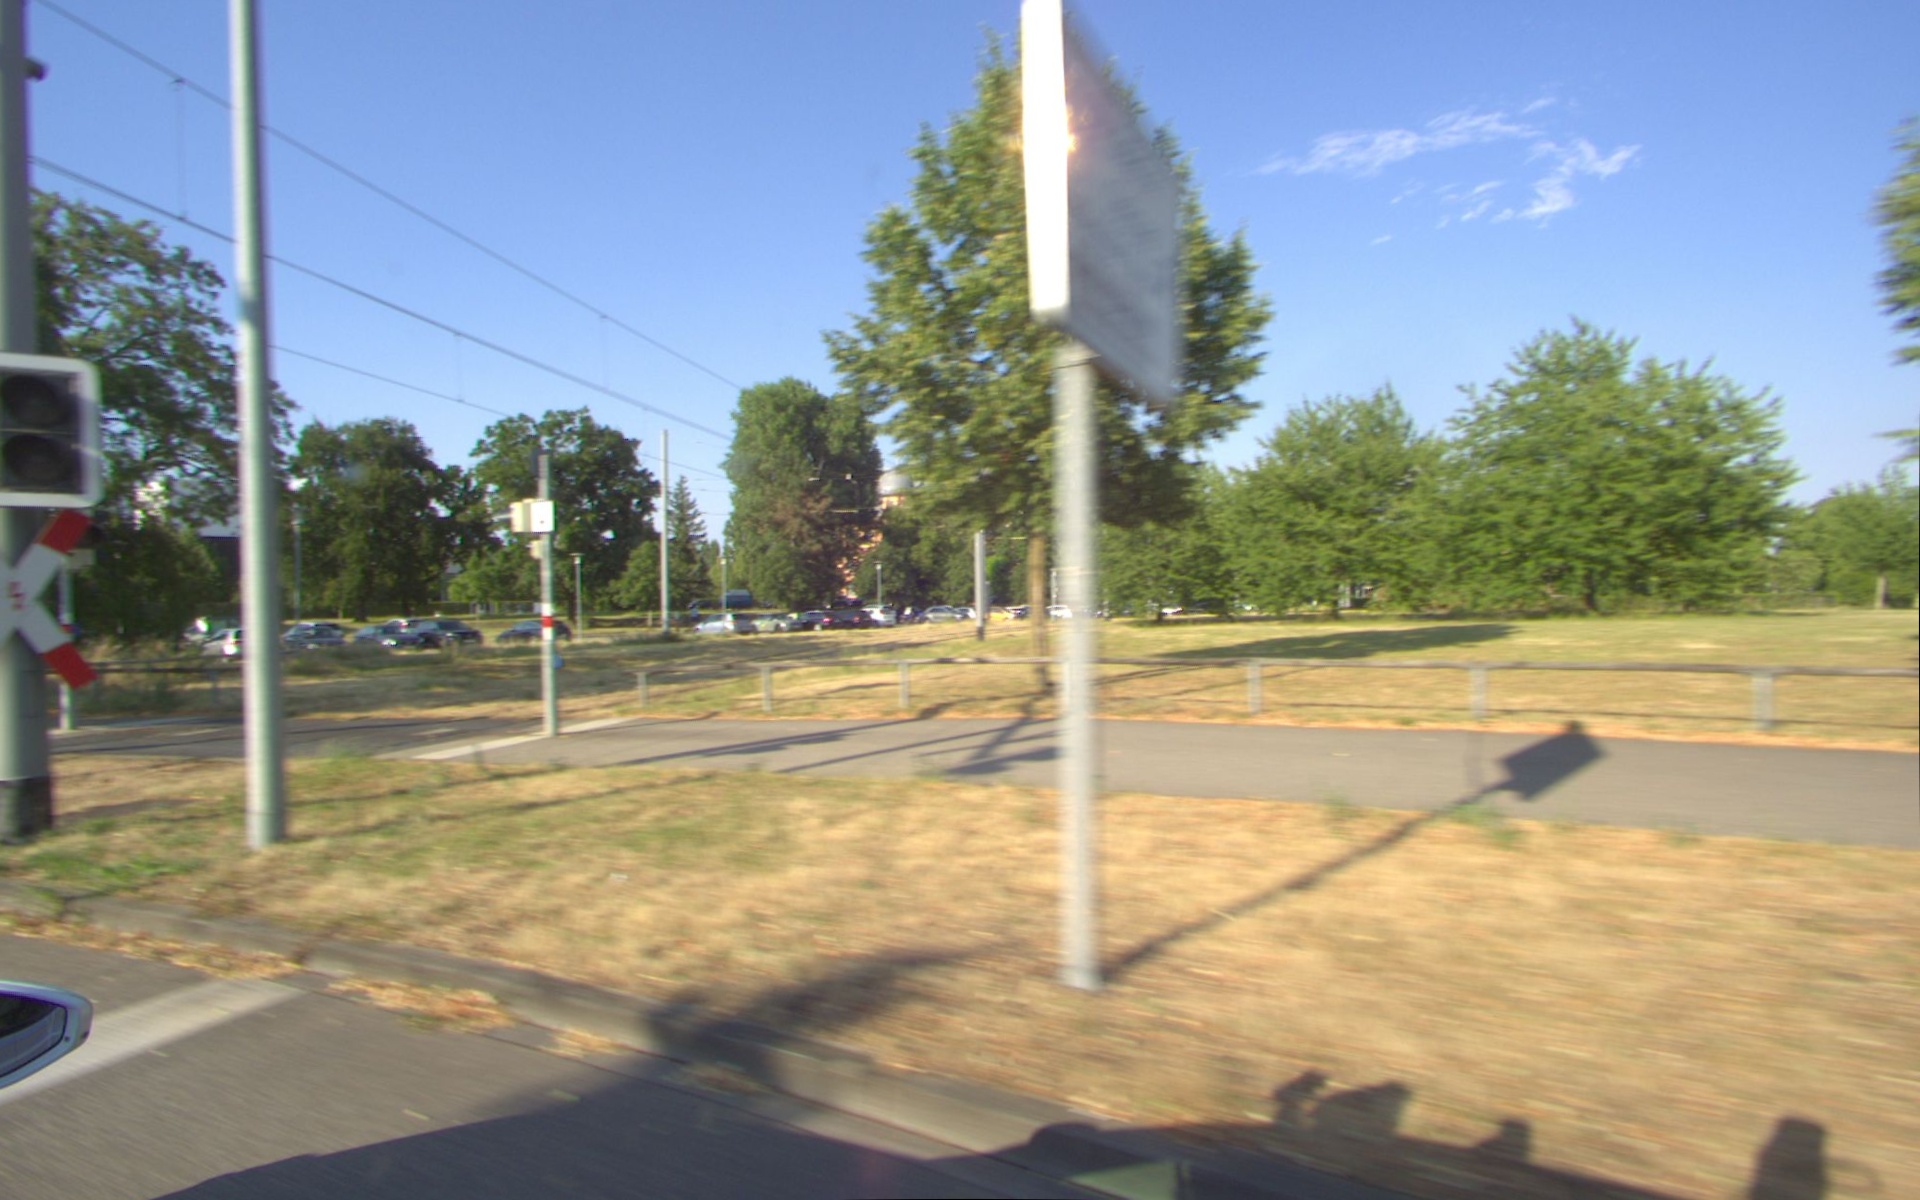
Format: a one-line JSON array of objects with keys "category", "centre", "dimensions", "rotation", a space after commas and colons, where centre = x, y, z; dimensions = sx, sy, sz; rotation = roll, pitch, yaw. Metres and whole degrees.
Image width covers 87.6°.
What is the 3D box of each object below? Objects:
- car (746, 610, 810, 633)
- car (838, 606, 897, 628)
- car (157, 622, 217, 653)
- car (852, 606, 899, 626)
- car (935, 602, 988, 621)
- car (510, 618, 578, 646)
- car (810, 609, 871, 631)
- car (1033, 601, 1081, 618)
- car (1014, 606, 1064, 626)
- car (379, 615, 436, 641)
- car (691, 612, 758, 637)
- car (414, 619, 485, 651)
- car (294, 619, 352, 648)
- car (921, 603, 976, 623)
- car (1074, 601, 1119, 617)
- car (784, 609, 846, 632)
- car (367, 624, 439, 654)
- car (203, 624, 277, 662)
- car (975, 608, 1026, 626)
[{"category": "car", "centre": [-11.613, 1.383, 63.926], "dimensions": [3.950, 1.421, 1.815], "rotation": [-2, 0, 37]}, {"category": "car", "centre": [-6.471, 1.180, 70.185], "dimensions": [3.950, 1.421, 1.815], "rotation": [-2, 0, 37]}, {"category": "car", "centre": [-37.344, 1.808, 48.373], "dimensions": [3.924, 1.420, 1.593], "rotation": [-2, 0, 42]}, {"category": "car", "centre": [-7.436, 1.392, 87.795], "dimensions": [3.950, 1.694, 1.815], "rotation": [-2, 0, 37]}, {"category": "car", "centre": [0.113, 0.902, 79.141], "dimensions": [3.950, 1.421, 1.815], "rotation": [-2, 0, 37]}, {"category": "car", "centre": [-20.788, 1.610, 49.967], "dimensions": [3.924, 1.327, 1.593], "rotation": [-2, 0, 42]}, {"category": "car", "centre": [-8.052, 1.365, 67.472], "dimensions": [3.950, 1.421, 1.815], "rotation": [-2, 0, 37]}, {"category": "car", "centre": [8.650, 0.866, 89.493], "dimensions": [3.950, 1.421, 1.815], "rotation": [-2, 0, 37]}, {"category": "car", "centre": [6.844, 1.408, 87.170], "dimensions": [3.950, 1.589, 1.815], "rotation": [-2, 0, 37]}, {"category": "car", "centre": [-31.599, 1.624, 57.234], "dimensions": [3.924, 1.420, 1.593], "rotation": [-2, 0, 42]}, {"category": "car", "centre": [-14.158, 1.448, 60.044], "dimensions": [3.950, 1.421, 1.815], "rotation": [-2, 0, 37]}, {"category": "car", "centre": [-23.730, 1.624, 46.499], "dimensions": [3.924, 1.420, 1.593], "rotation": [-2, 0, 42]}, {"category": "car", "centre": [-33.603, 1.750, 52.789], "dimensions": [3.924, 1.420, 1.593], "rotation": [-2, 0, 42]}, {"category": "car", "centre": [-0.921, 0.984, 76.884], "dimensions": [3.950, 1.421, 1.815], "rotation": [-2, 0, 37]}, {"category": "car", "centre": [13.164, 0.881, 96.668], "dimensions": [3.950, 1.421, 1.815], "rotation": [-2, 0, 37]}, {"category": "car", "centre": [-9.544, 1.327, 65.742], "dimensions": [3.950, 1.421, 1.815], "rotation": [-2, 0, 37]}, {"category": "car", "centre": [-24.831, 1.711, 44.623], "dimensions": [3.924, 1.237, 1.593], "rotation": [-2, -1, 42]}, {"category": "car", "centre": [-28.943, 1.714, 40.239], "dimensions": [3.924, 1.420, 1.593], "rotation": [-2, 0, 42]}, {"category": "car", "centre": [3.365, 1.409, 83.598], "dimensions": [3.950, 1.421, 1.815], "rotation": [-2, 0, 37]}]
